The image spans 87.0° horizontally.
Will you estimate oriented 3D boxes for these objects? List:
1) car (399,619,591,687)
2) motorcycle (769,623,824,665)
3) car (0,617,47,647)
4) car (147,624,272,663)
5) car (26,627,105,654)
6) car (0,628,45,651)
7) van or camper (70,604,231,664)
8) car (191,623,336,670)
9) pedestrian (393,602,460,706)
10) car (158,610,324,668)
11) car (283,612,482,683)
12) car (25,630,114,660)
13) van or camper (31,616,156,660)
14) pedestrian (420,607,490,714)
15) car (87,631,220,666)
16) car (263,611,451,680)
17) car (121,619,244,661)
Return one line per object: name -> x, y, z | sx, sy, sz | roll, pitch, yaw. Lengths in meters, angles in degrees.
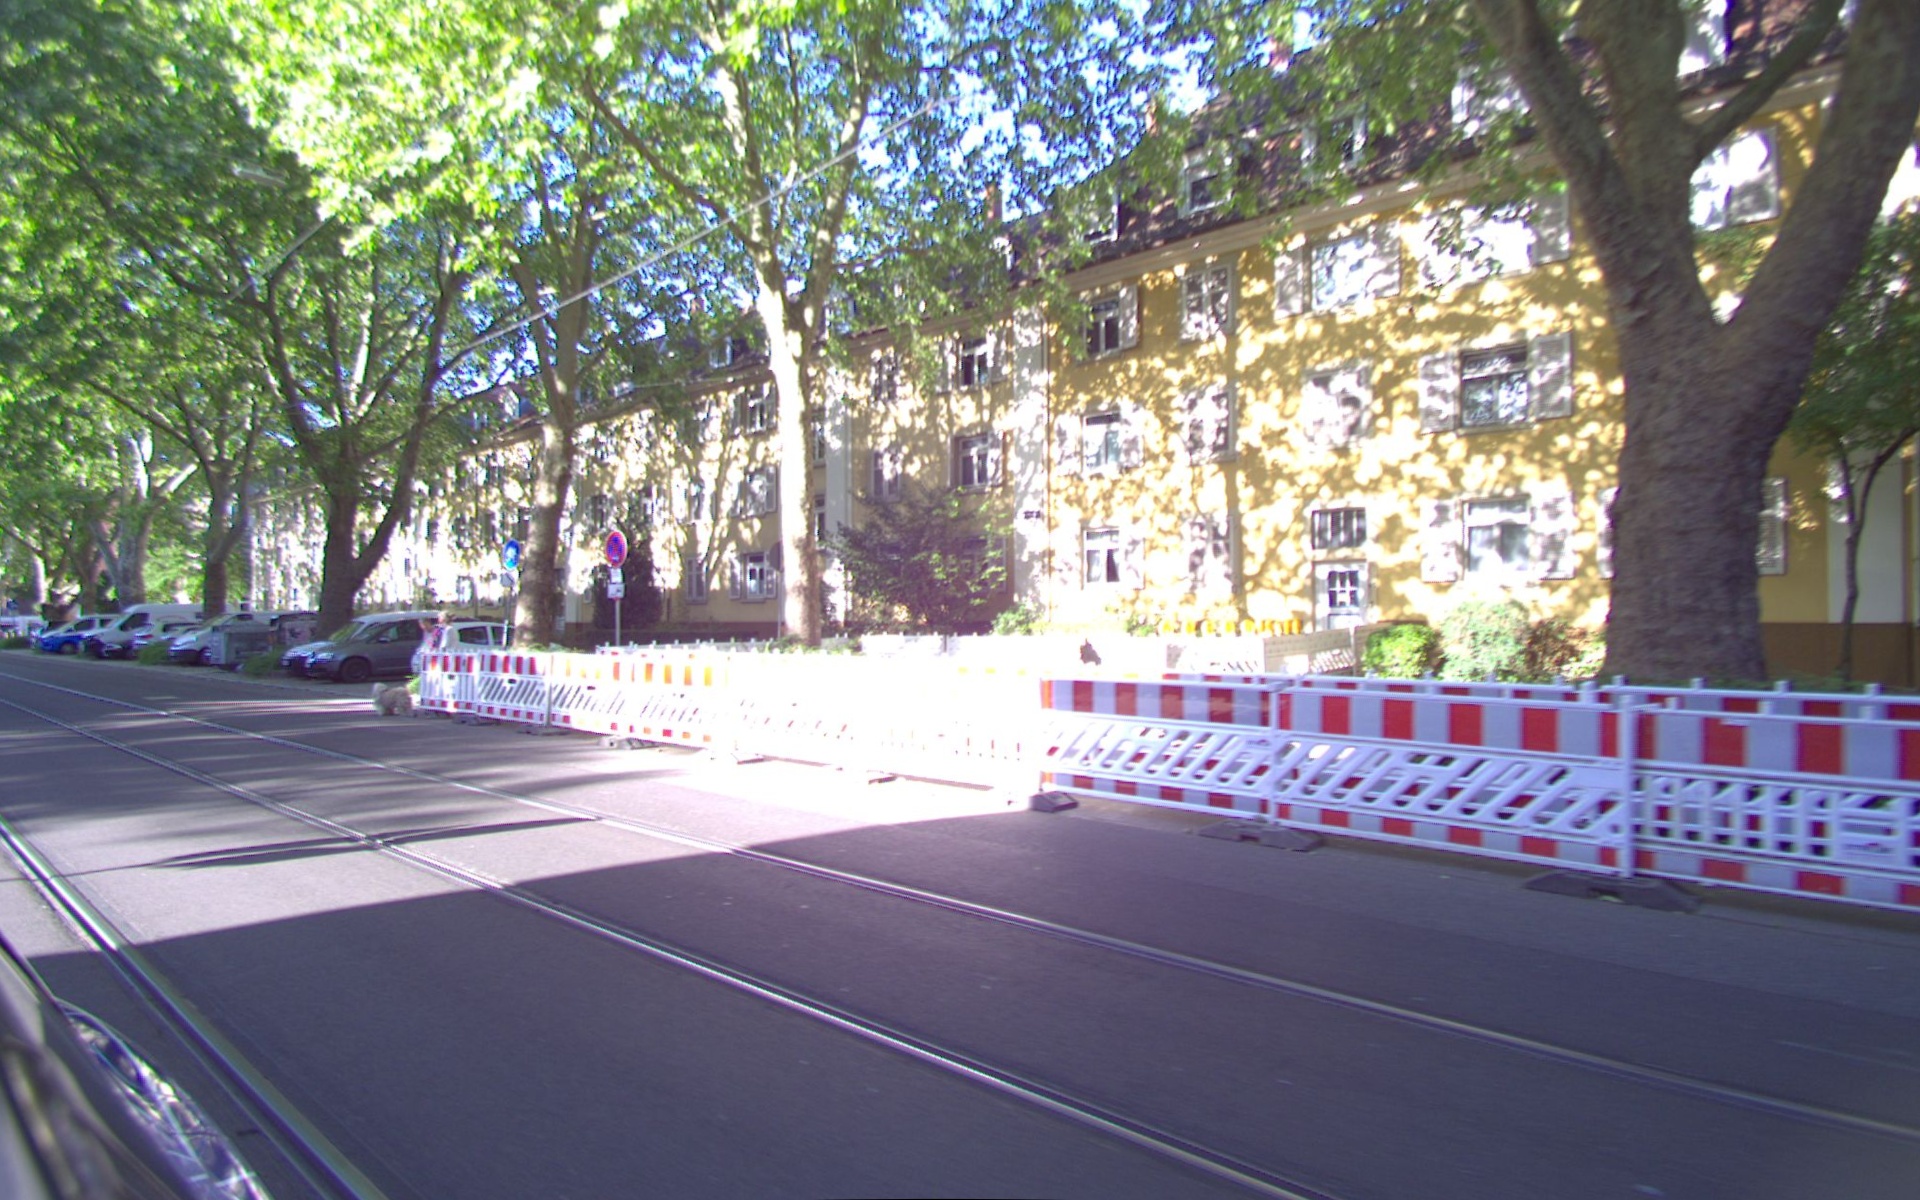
car -> -11.214, 1.259, 24.581 | 1.861, 1.509, 3.807 | -2, -3, 41
motorcycle -> -4.979, 1.338, 30.851 | 0.523, 1.250, 1.691 | -2, -2, 42
car -> -79.859, 2.705, 84.635 | 2.026, 2.416, 4.956 | -3, -2, 39
car -> -30.747, 1.768, 41.516 | 1.861, 1.509, 3.807 | -2, -3, 41
car -> -55.711, 2.519, 63.087 | 3.638, 1.565, 1.705 | 0, -2, -44
car -> -76.080, 3.147, 80.718 | 2.026, 1.779, 4.408 | -3, -2, 39
van or camper -> -36.389, 1.471, 45.630 | 2.443, 2.535, 5.334 | -2, -2, 40
car -> -24.143, 1.593, 35.170 | 1.861, 1.509, 3.807 | -2, -3, 41
pedestrian -> -9.384, 0.925, 17.790 | 0.796, 1.758, 0.813 | -1, -1, 41
car -> -26.199, 1.372, 37.029 | 1.959, 1.960, 4.613 | -2, -1, 38
car -> -15.033, 1.208, 26.476 | 4.183, 1.701, 1.935 | 2, -3, -42
car -> -52.531, 2.650, 59.741 | 1.796, 1.636, 3.649 | -2, -1, 36
van or camper -> -46.089, 1.969, 53.912 | 2.118, 2.206, 4.771 | -2, -2, 40
pedestrian -> -8.560, 0.996, 17.154 | 0.796, 1.758, 0.813 | -1, -1, 41
car -> -34.689, 2.061, 43.611 | 1.752, 1.409, 4.219 | -2, -3, 41
car -> -16.617, 1.207, 28.077 | 1.738, 1.771, 4.158 | -2, -2, 39
car -> -32.767, 1.684, 42.694 | 1.861, 1.675, 3.807 | -2, -3, 41
